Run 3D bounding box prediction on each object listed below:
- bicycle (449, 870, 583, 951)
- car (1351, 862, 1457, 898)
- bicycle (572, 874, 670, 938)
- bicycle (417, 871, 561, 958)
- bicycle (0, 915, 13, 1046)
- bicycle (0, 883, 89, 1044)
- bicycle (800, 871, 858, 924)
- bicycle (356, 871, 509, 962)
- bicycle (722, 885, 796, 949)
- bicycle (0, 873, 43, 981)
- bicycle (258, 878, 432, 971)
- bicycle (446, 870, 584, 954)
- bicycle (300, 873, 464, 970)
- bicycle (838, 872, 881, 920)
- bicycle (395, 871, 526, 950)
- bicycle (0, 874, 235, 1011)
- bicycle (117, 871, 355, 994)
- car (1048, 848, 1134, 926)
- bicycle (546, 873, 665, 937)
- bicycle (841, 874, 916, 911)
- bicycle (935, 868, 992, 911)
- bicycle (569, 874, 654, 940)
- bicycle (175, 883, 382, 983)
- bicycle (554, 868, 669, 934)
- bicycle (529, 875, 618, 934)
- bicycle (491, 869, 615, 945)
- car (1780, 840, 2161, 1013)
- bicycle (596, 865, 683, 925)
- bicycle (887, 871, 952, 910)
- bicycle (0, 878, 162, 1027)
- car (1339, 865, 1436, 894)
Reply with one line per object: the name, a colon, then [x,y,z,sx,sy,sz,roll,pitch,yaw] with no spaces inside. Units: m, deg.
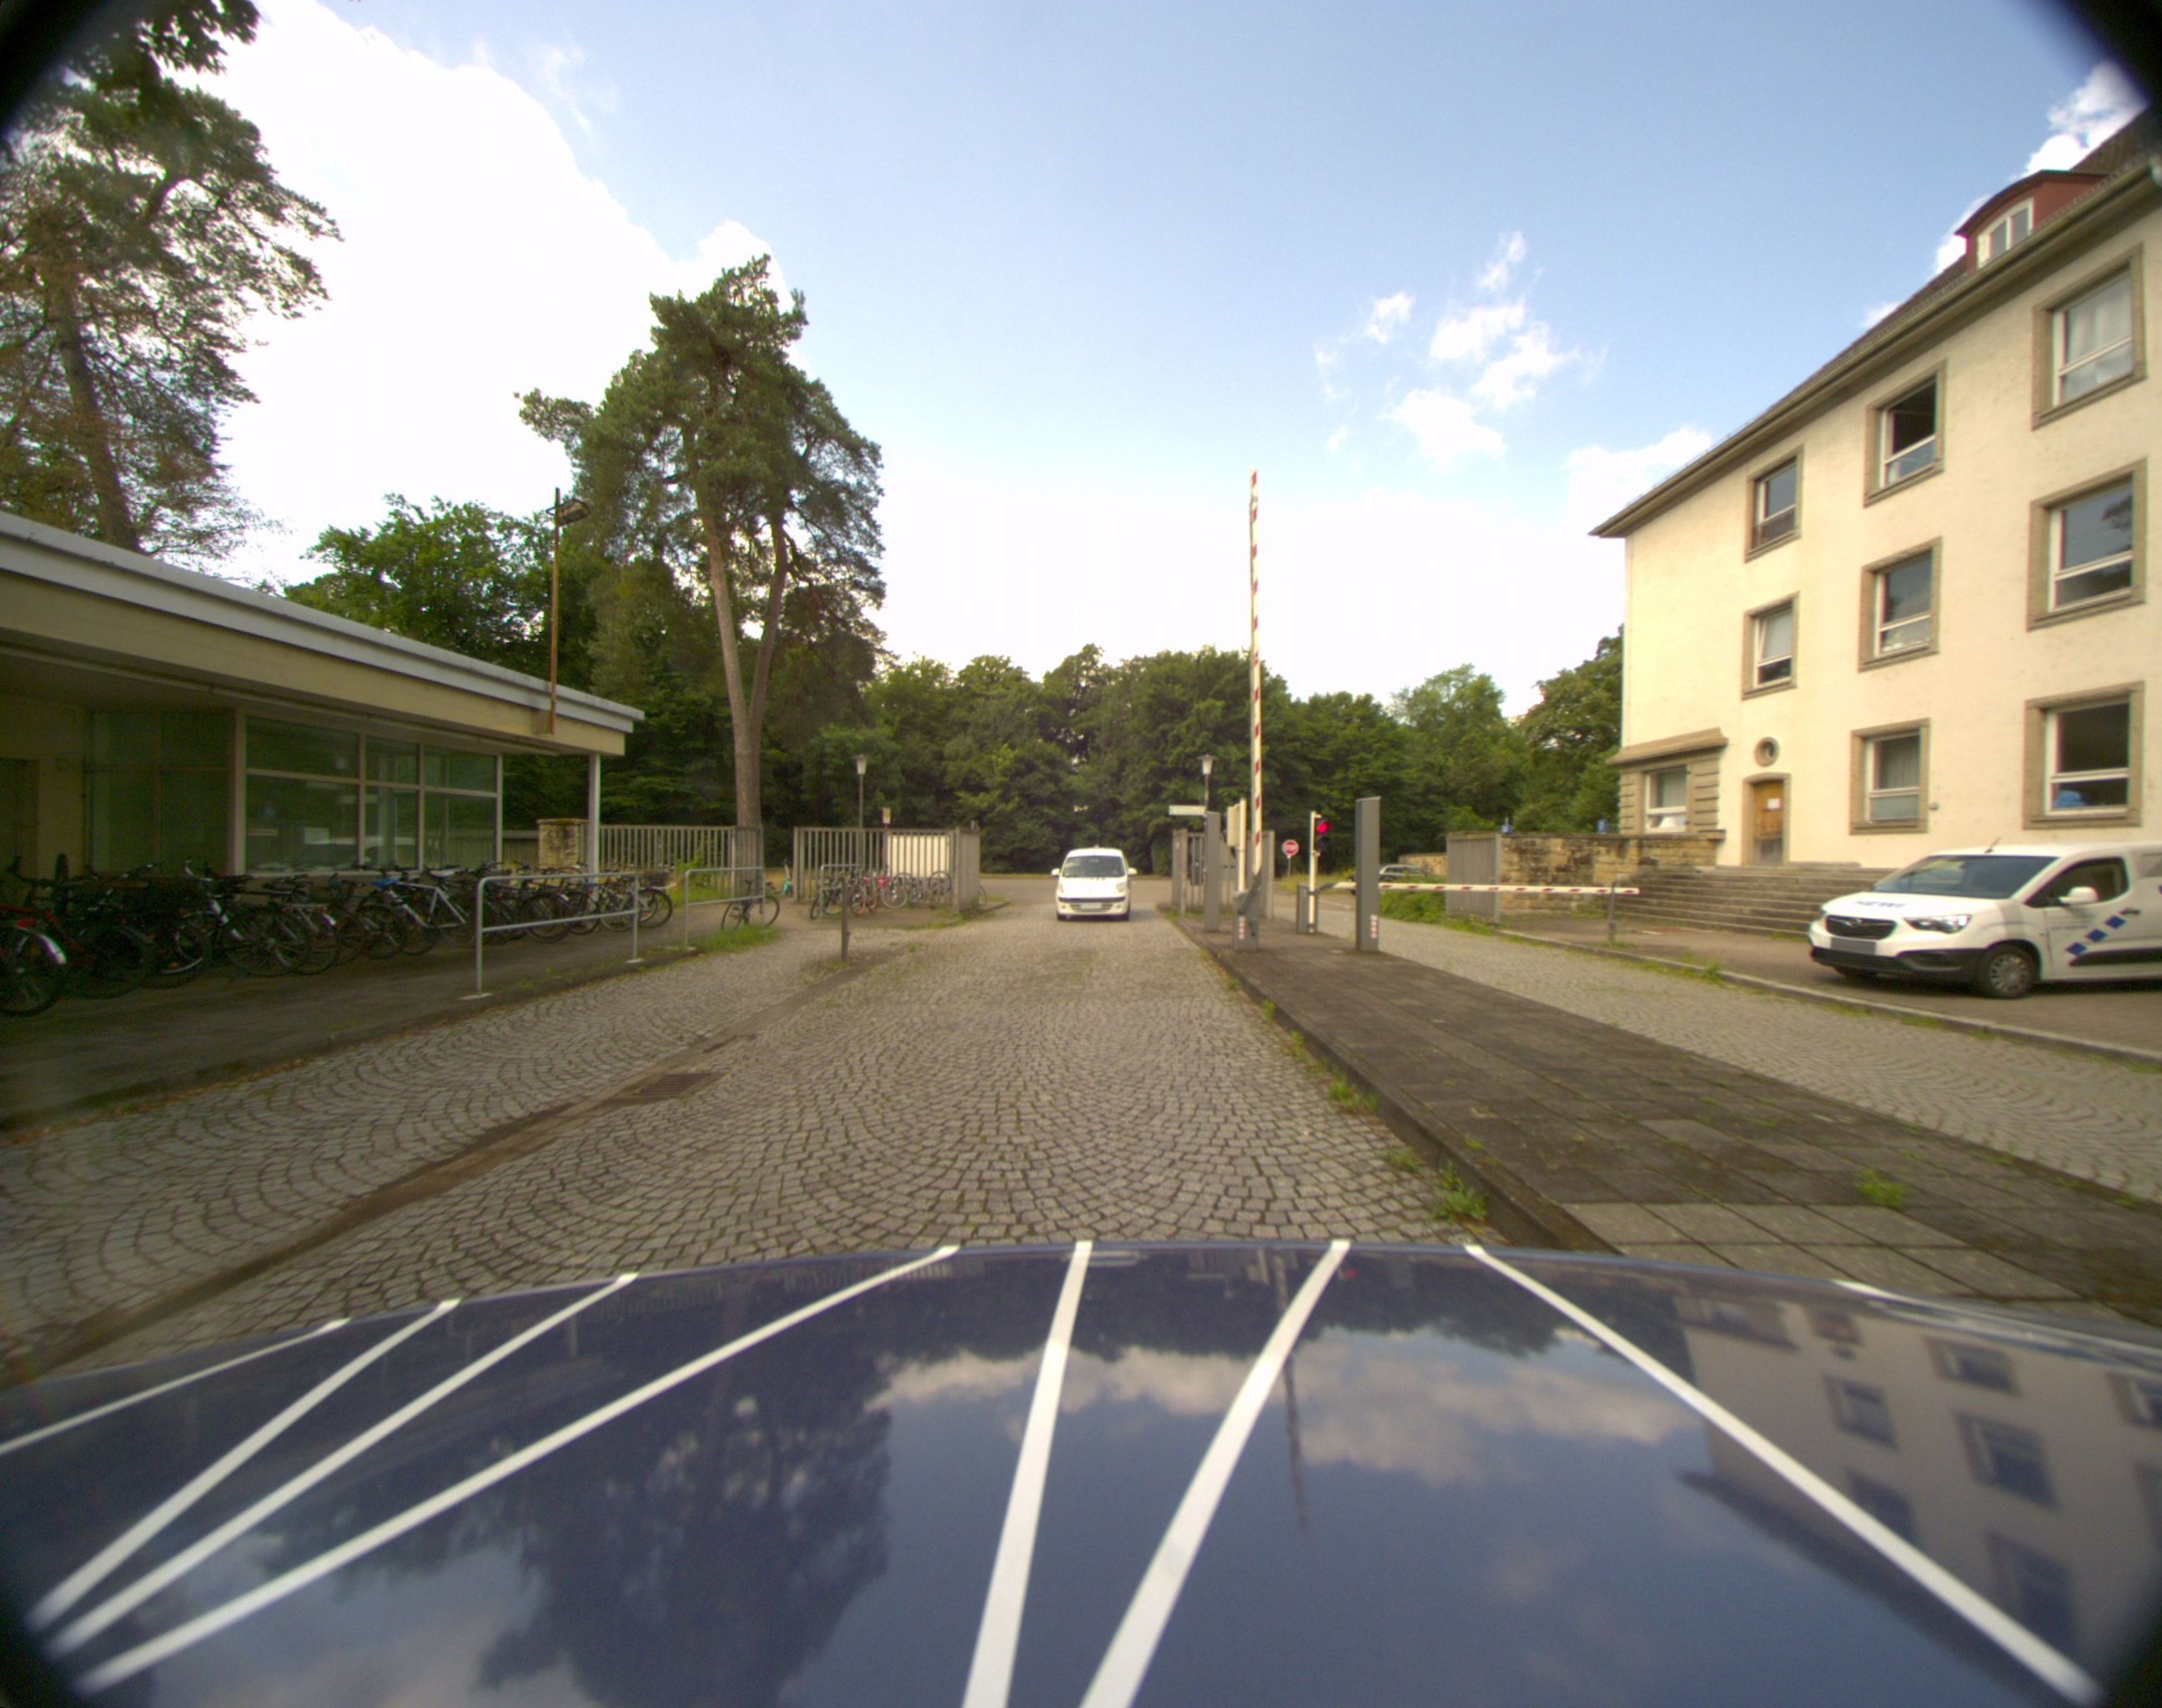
bicycle: [-8.422,0.835,11.351,1.618,1.134,0.356,2,0,-6]
car: [14.198,1.125,33.624,3.994,1.508,1.803,0,0,7]
bicycle: [-7.869,0.870,13.051,1.408,1.040,0.338,0,1,-25]
bicycle: [-8.171,0.837,10.521,1.618,1.134,0.325,2,0,-6]
bicycle: [-8.730,0.922,5.211,1.638,0.970,0.322,2,0,-29]
bicycle: [-8.905,0.819,5.829,1.636,1.183,0.473,2,0,-12]
bicycle: [-5.473,0.923,16.570,0.692,1.056,1.565,1,0,2]
bicycle: [-8.588,0.823,10.092,1.618,1.134,0.325,2,0,-6]
bicycle: [-5.547,1.055,13.170,0.535,0.947,1.655,1,1,2]
bicycle: [-11.101,0.747,7.175,0.480,1.069,1.680,2,0,-10]
bicycle: [-8.733,0.835,9.044,1.596,1.044,0.325,2,0,-6]
bicycle: [-8.106,0.834,10.905,1.618,1.134,0.325,2,0,-6]
bicycle: [-8.641,0.828,9.422,1.596,1.134,0.325,2,0,-6]
bicycle: [-5.301,0.988,18.270,0.474,1.051,1.732,1,0,2]
bicycle: [-9.522,0.823,11.756,0.491,1.069,1.832,2,0,0]
bicycle: [-8.973,0.810,6.996,1.635,1.183,0.419,2,0,-11]
bicycle: [-8.606,0.800,7.792,1.635,1.183,0.498,2,0,-11]
car: [0.375,0.751,19.482,1.866,1.749,4.150,-1,0,5]
bicycle: [-8.363,0.868,13.402,1.754,1.040,0.453,0,1,-37]
bicycle: [-5.451,1.037,20.488,1.868,0.934,0.503,2,0,-4]
bicycle: [-3.570,1.069,23.227,1.655,1.223,0.749,2,1,-6]
bicycle: [-7.769,0.872,12.602,1.154,1.056,0.286,0,1,-19]
bicycle: [-8.809,0.876,8.381,1.636,1.044,0.334,2,0,-13]
bicycle: [-8.600,0.824,13.972,1.744,1.125,0.473,0,1,-42]
bicycle: [-9.403,0.913,14.133,0.404,1.004,1.359,1,0,25]
bicycle: [-8.354,0.830,12.045,1.618,1.134,0.356,2,0,-6]
car: [11.725,0.806,9.502,4.312,1.796,1.820,-2,1,-1]
bicycle: [-9.069,0.815,15.677,0.648,1.132,1.681,1,0,8]
bicycle: [-4.534,1.025,21.333,1.730,1.027,0.387,2,1,3]
bicycle: [-8.937,0.813,6.383,1.635,1.183,0.419,2,0,-11]
car: [14.758,1.211,36.770,3.994,1.338,1.803,0,0,7]
